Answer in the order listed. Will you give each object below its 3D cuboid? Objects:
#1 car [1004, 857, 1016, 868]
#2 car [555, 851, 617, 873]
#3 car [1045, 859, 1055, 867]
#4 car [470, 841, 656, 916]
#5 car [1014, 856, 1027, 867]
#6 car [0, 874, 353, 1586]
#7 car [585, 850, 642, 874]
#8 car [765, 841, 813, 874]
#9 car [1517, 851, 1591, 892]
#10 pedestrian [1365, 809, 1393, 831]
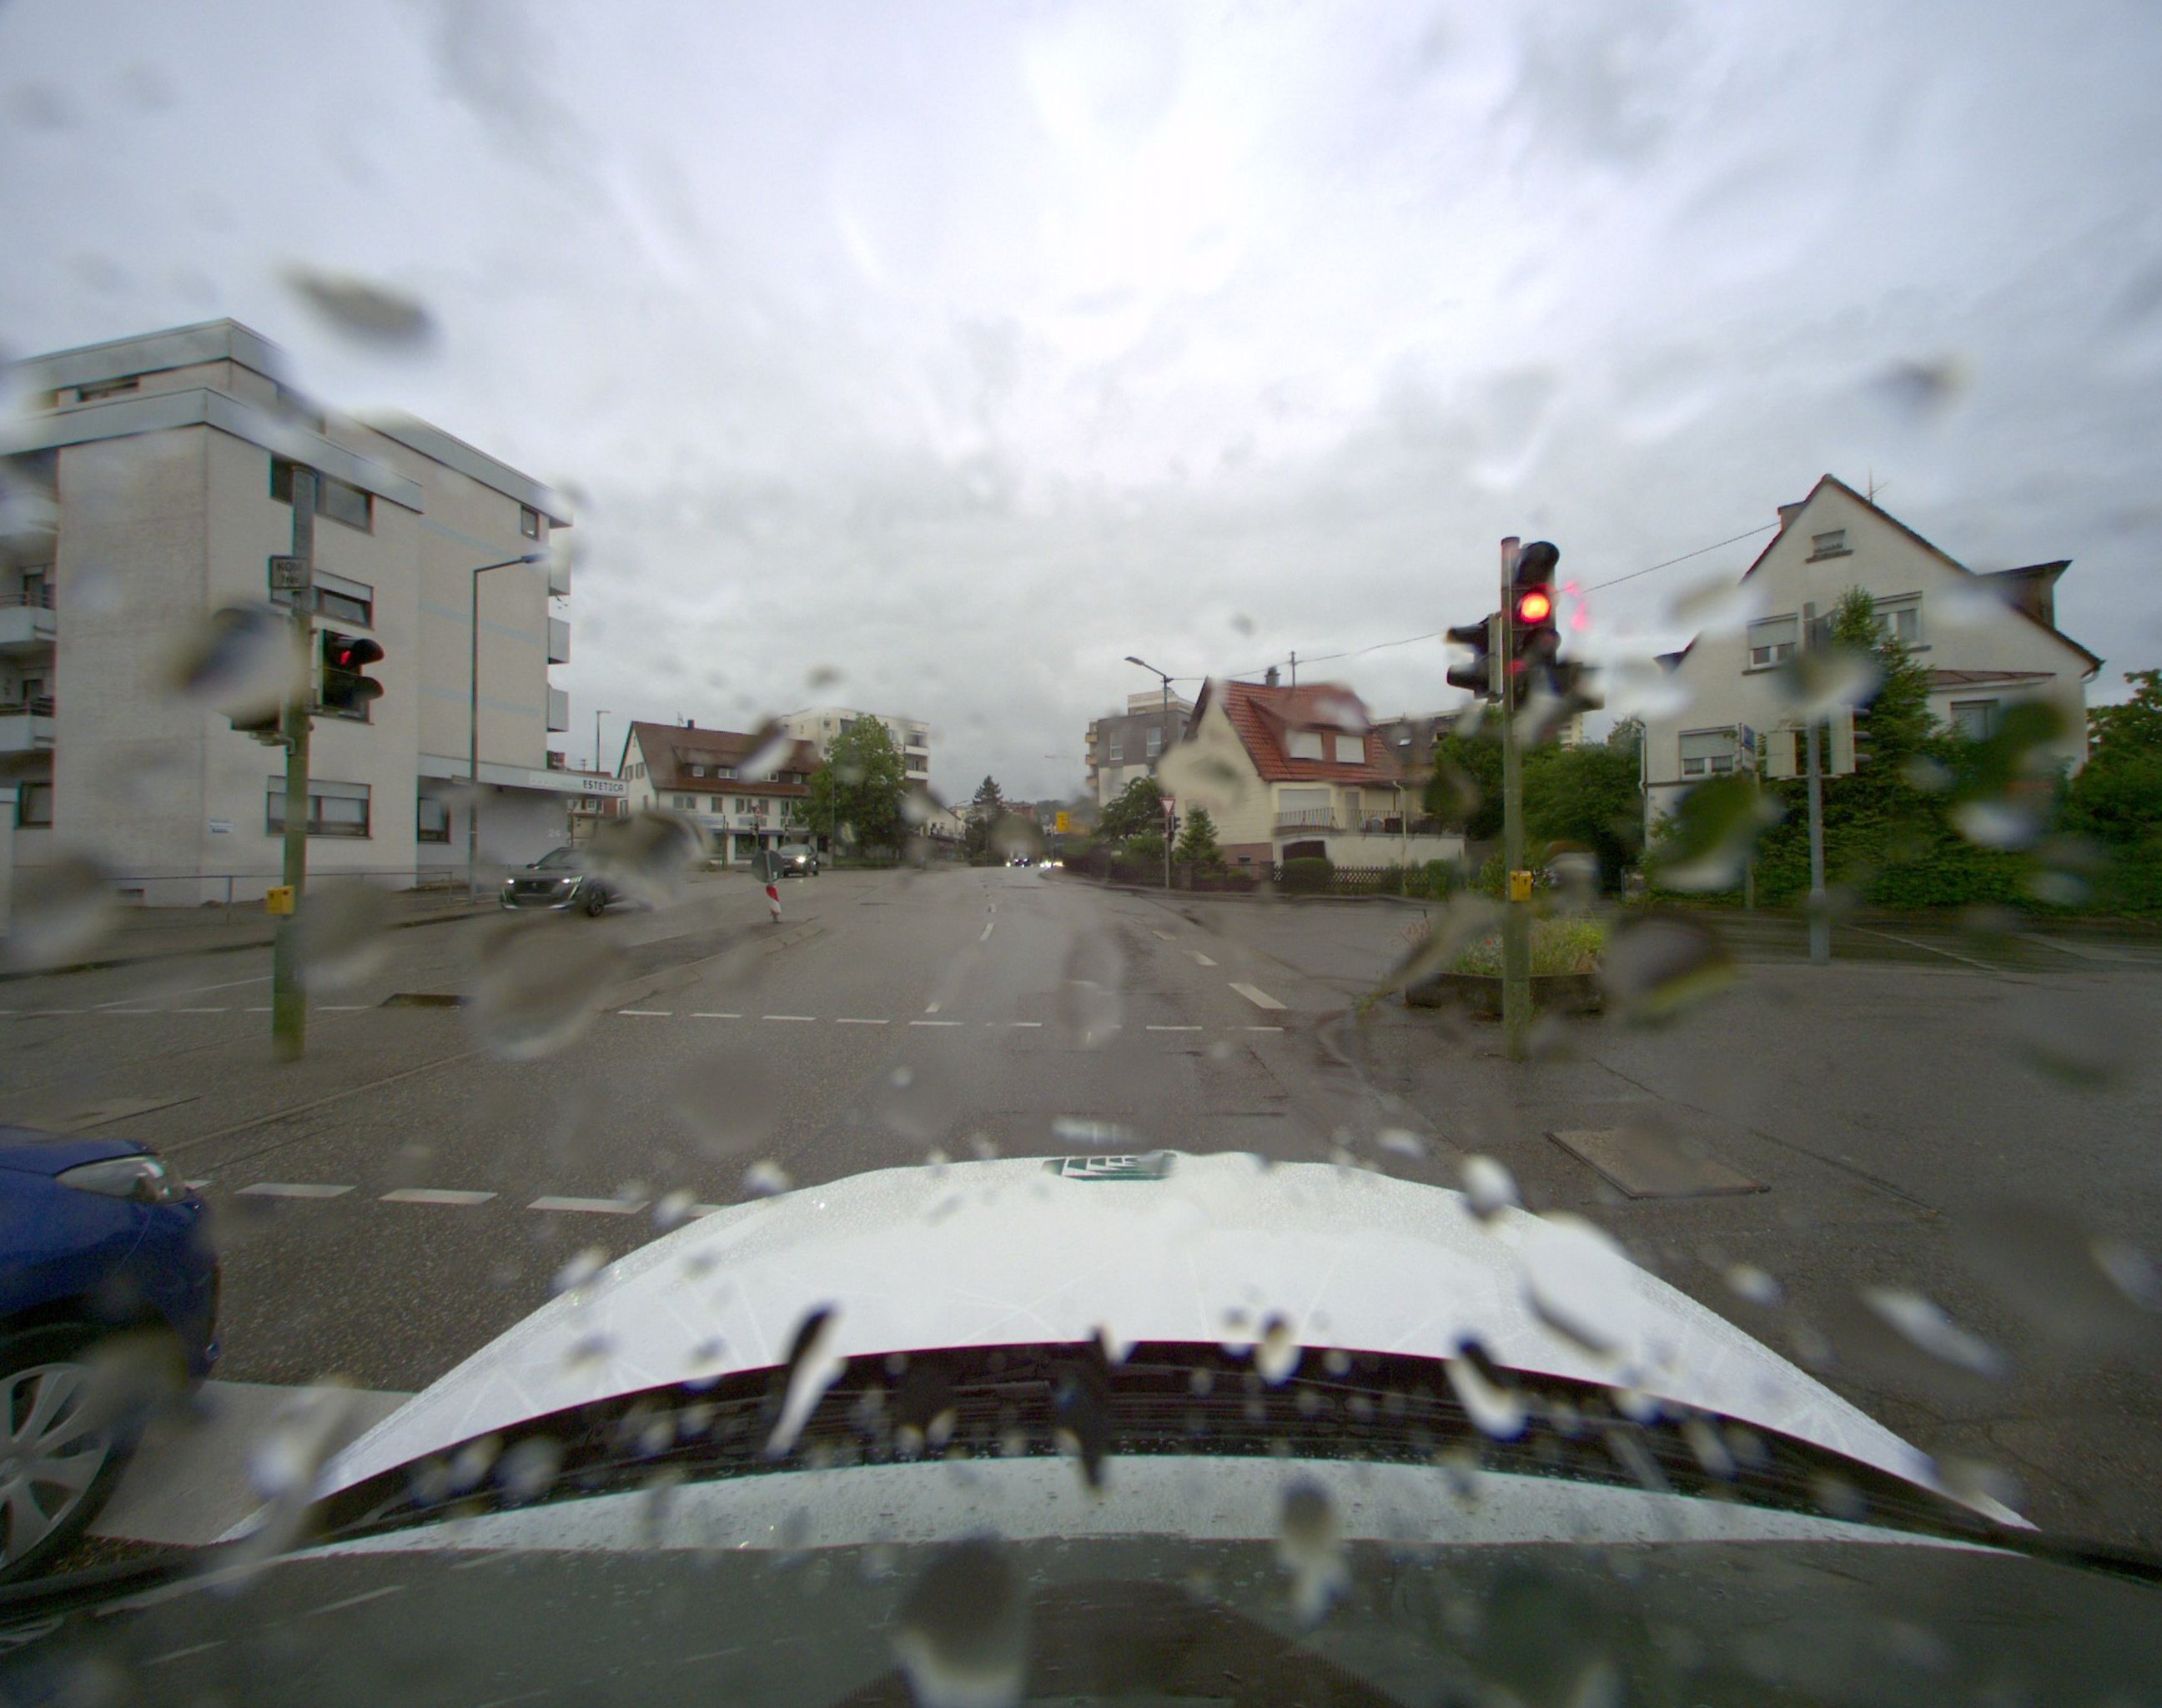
[{"bbox_3d":[-12.400,1.408,142.338,1.989,1.904,3.996,0,-1,-3],"label":"car"},{"bbox_3d":[-41.223,0.658,67.818,4.093,1.843,1.864,0,-1,-44],"label":"car"},{"bbox_3d":[-6.683,2.021,174.144,1.989,1.679,3.996,0,-1,-3],"label":"car"},{"bbox_3d":[-11.591,0.514,18.600,1.964,1.512,3.992,0,-1,-6],"label":"car"},{"bbox_3d":[-9.551,1.190,128.015,1.990,1.737,5.173,0,0,-4],"label":"car"},{"bbox_3d":[-2.961,0.778,0.741,1.499,1.413,3.365,0,0,2],"label":"car"},{"bbox_3d":[-38.450,0.619,66.995,3.706,1.920,1.864,0,-1,-44],"label":"car"},{"bbox_3d":[-14.799,0.189,41.460,1.881,1.597,4.164,0,-1,-14],"label":"car"},{"bbox_3d":[17.102,0.602,29.385,1.794,1.362,4.025,-1,-1,37],"label":"car"},{"bbox_3d":[12.762,-1.431,34.871,0.918,0.883,0.632,0,-3,-18],"label":"pedestrian"}]
